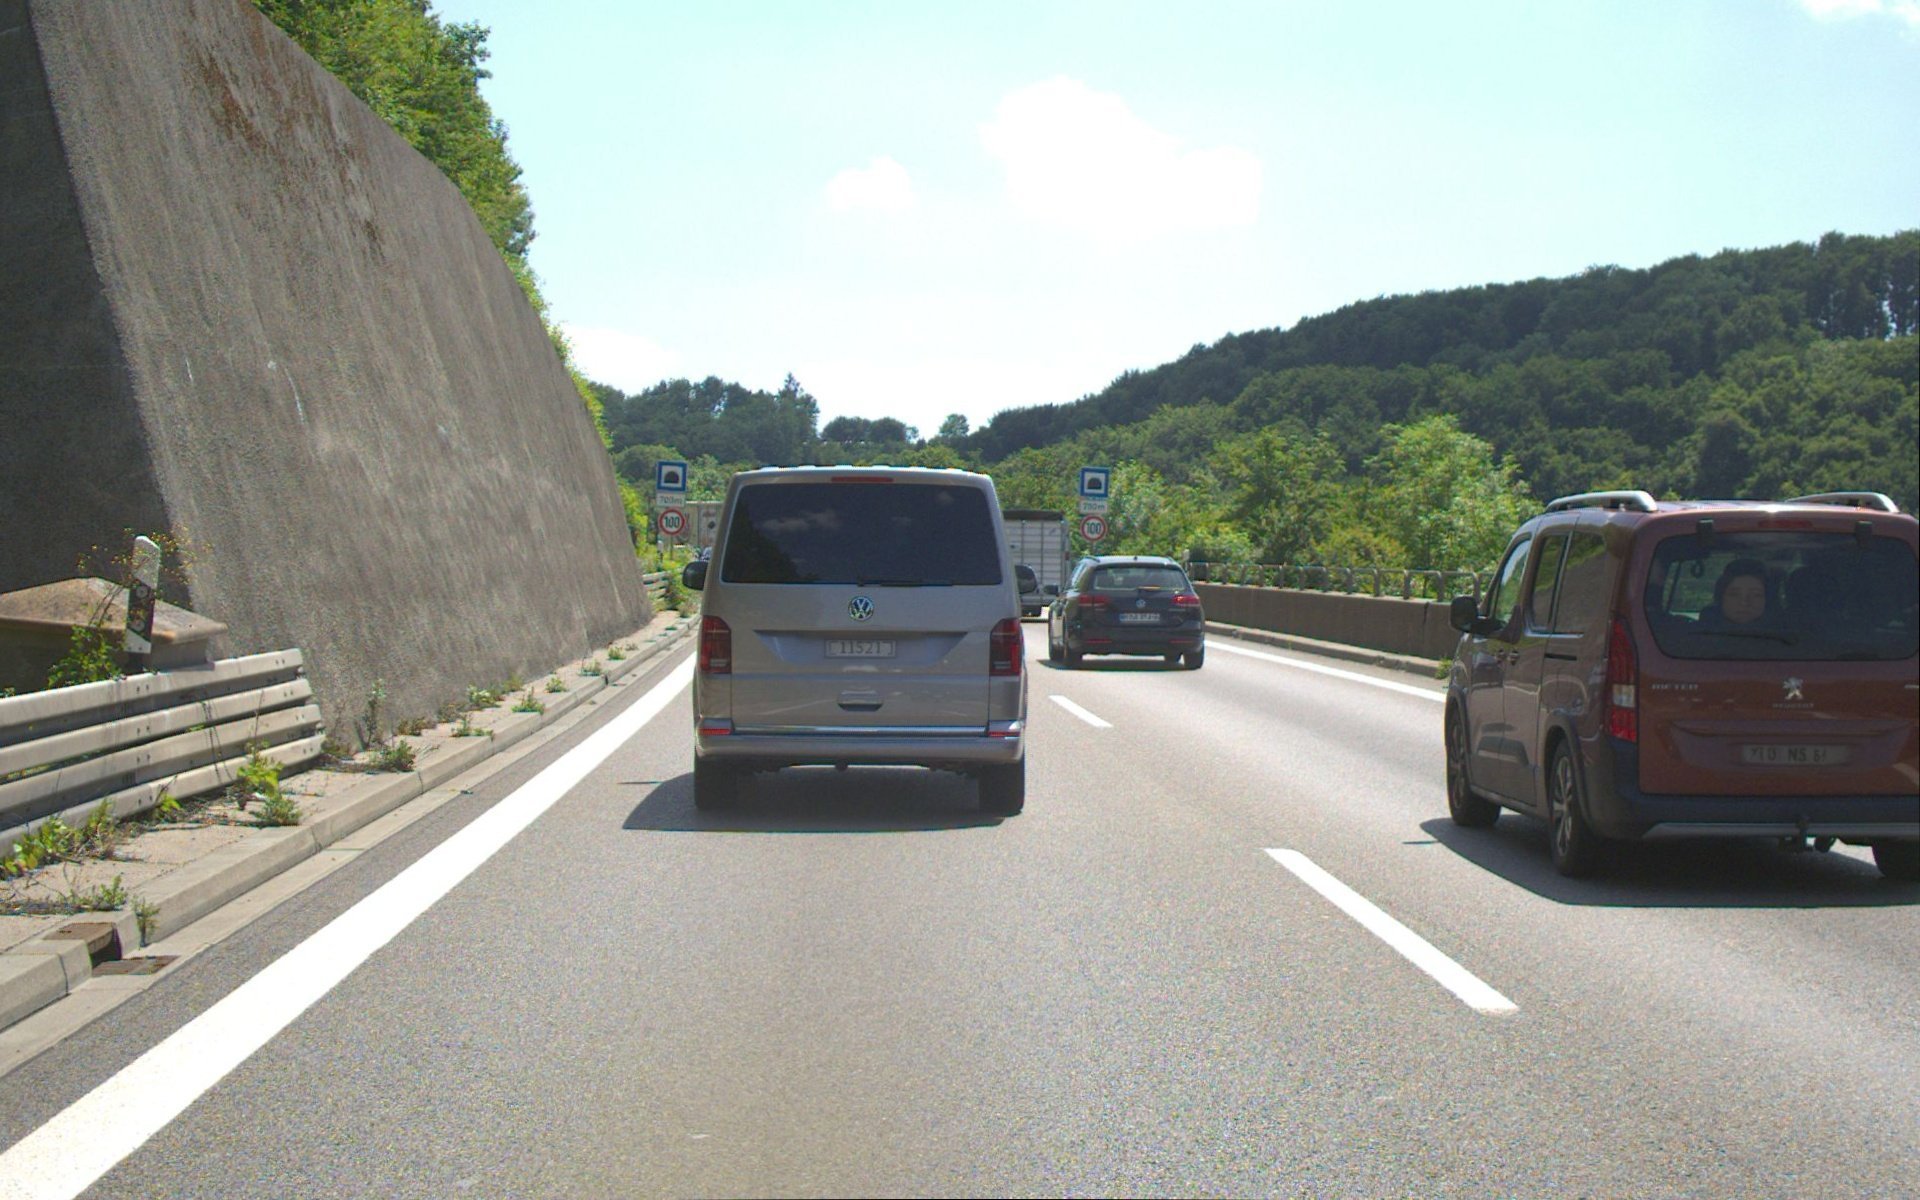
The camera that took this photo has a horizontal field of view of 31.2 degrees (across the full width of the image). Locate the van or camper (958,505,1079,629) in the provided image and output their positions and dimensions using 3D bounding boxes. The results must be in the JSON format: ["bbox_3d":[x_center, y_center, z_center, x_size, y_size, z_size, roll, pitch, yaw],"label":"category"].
[{"bbox_3d":[1.215,-0.731,74.167,2.263,2.542,4.737,-1,1,-3],"label":"van or camper"}]

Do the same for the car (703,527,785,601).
[{"bbox_3d":[-5.461,-0.927,86.658,1.993,1.811,4.001,0,1,-5],"label":"car"}]

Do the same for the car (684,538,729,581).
[{"bbox_3d":[-12.258,-1.952,166.321,1.993,2.007,4.000,-1,0,-2],"label":"car"}]

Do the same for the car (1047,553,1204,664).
[{"bbox_3d":[2.126,0.085,45.021,1.768,1.371,3.593,0,1,-2],"label":"car"}]

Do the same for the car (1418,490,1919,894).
[{"bbox_3d":[3.618,0.389,17.575,1.833,1.778,4.676,0,0,-1],"label":"car"}]

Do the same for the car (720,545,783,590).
[{"bbox_3d":[-7.640,-1.205,125.575,2.142,1.601,5.079,0,1,-5],"label":"car"}]

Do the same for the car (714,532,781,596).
[{"bbox_3d":[-6.505,-1.125,105.442,1.993,1.908,4.001,0,1,-3],"label":"car"}]

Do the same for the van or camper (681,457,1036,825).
[{"bbox_3d":[-0.580,0.196,20.592,1.875,1.943,4.294,1,1,-1],"label":"van or camper"}]

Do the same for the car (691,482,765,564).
[{"bbox_3d":[-14.221,-4.658,209.930,4.042,4.855,10.111,0,1,-6],"label":"car"}]
